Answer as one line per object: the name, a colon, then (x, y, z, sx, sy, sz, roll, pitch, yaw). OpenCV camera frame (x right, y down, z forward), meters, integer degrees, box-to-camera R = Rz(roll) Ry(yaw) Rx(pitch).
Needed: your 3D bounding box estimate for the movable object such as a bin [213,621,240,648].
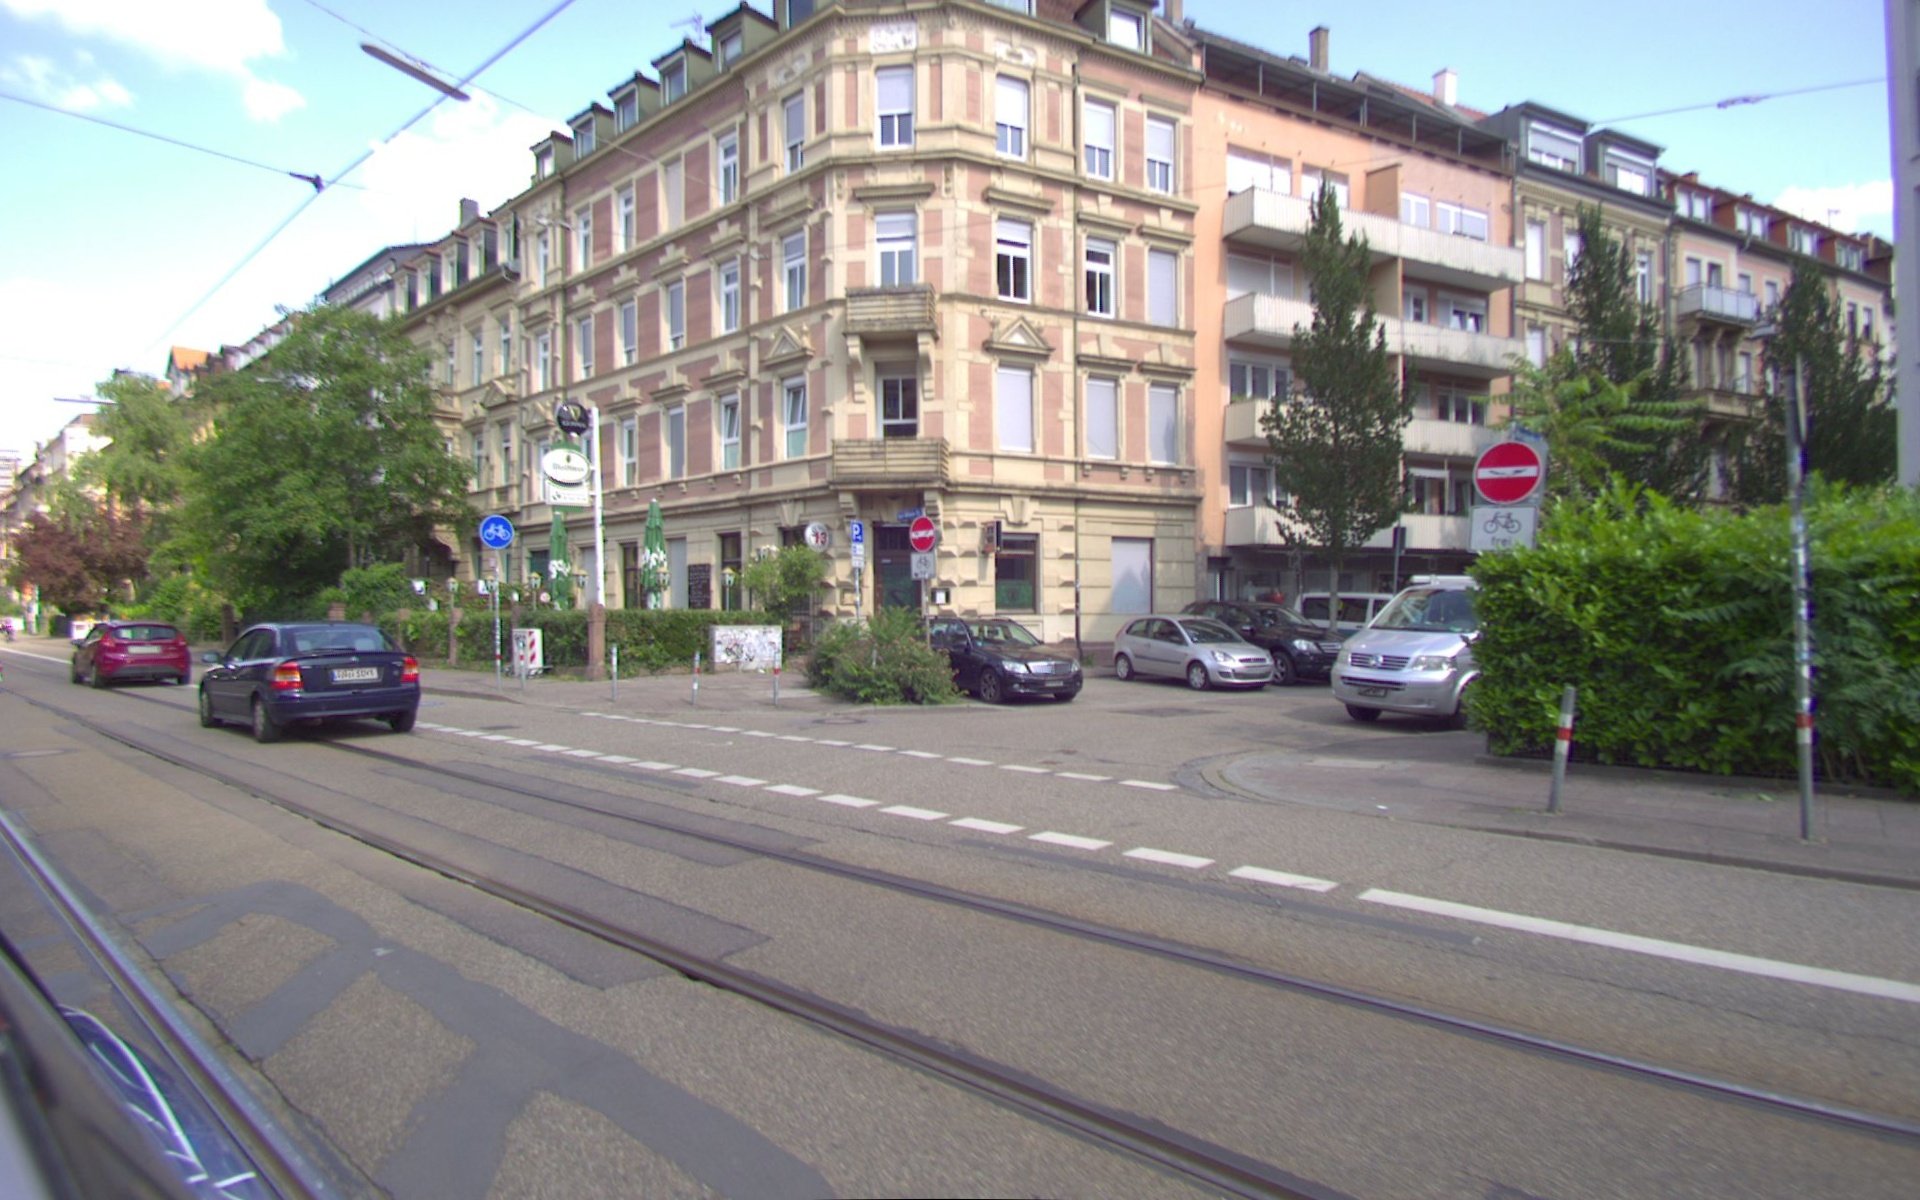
movable object such as a bin: (-31.281, 1.451, 43.167, 0.733, 1.116, 0.765, -1, -1, 41)

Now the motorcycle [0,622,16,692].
motorcycle: (-19.864, 1.125, 20.217, 2.076, 1.370, 0.735, -1, -1, 25)

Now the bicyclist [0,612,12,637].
bicyclist: (-55.209, 1.434, 58.509, 0.942, 1.436, 0.558, -1, -1, 43)

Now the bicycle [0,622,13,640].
bicycle: (-55.189, 1.774, 58.489, 1.918, 0.997, 0.563, -1, -1, 44)

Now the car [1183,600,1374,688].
car: (6.801, 0.892, 22.021, 1.860, 1.719, 3.781, 0, -1, -25)

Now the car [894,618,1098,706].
car: (0.482, 1.057, 19.056, 1.860, 1.375, 4.978, 0, -1, -23)

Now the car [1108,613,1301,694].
car: (4.928, 1.024, 20.920, 1.860, 1.411, 3.781, 0, 0, -27)

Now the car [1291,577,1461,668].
car: (9.964, 0.514, 24.490, 1.675, 2.011, 3.598, 0, -1, -25)

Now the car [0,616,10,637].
car: (-86.432, 2.370, 90.602, 3.735, 1.741, 1.693, 0, 0, 41)

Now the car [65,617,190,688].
car: (-18.586, 1.111, 22.533, 3.935, 1.451, 1.577, -1, -2, 42)

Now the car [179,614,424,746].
car: (-8.554, 0.911, 13.005, 4.127, 1.418, 1.611, -1, -1, 42)

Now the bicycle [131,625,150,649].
bicycle: (-39.698, 1.789, 49.015, 1.818, 1.146, 0.407, -1, -1, 41)

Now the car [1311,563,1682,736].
car: (7.415, 0.611, 13.928, 4.860, 2.029, 2.056, 0, -1, -27)

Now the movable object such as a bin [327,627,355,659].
movable object such as a bin: (-18.796, 1.295, 30.728, 0.640, 0.932, 0.572, -1, -1, 41)
